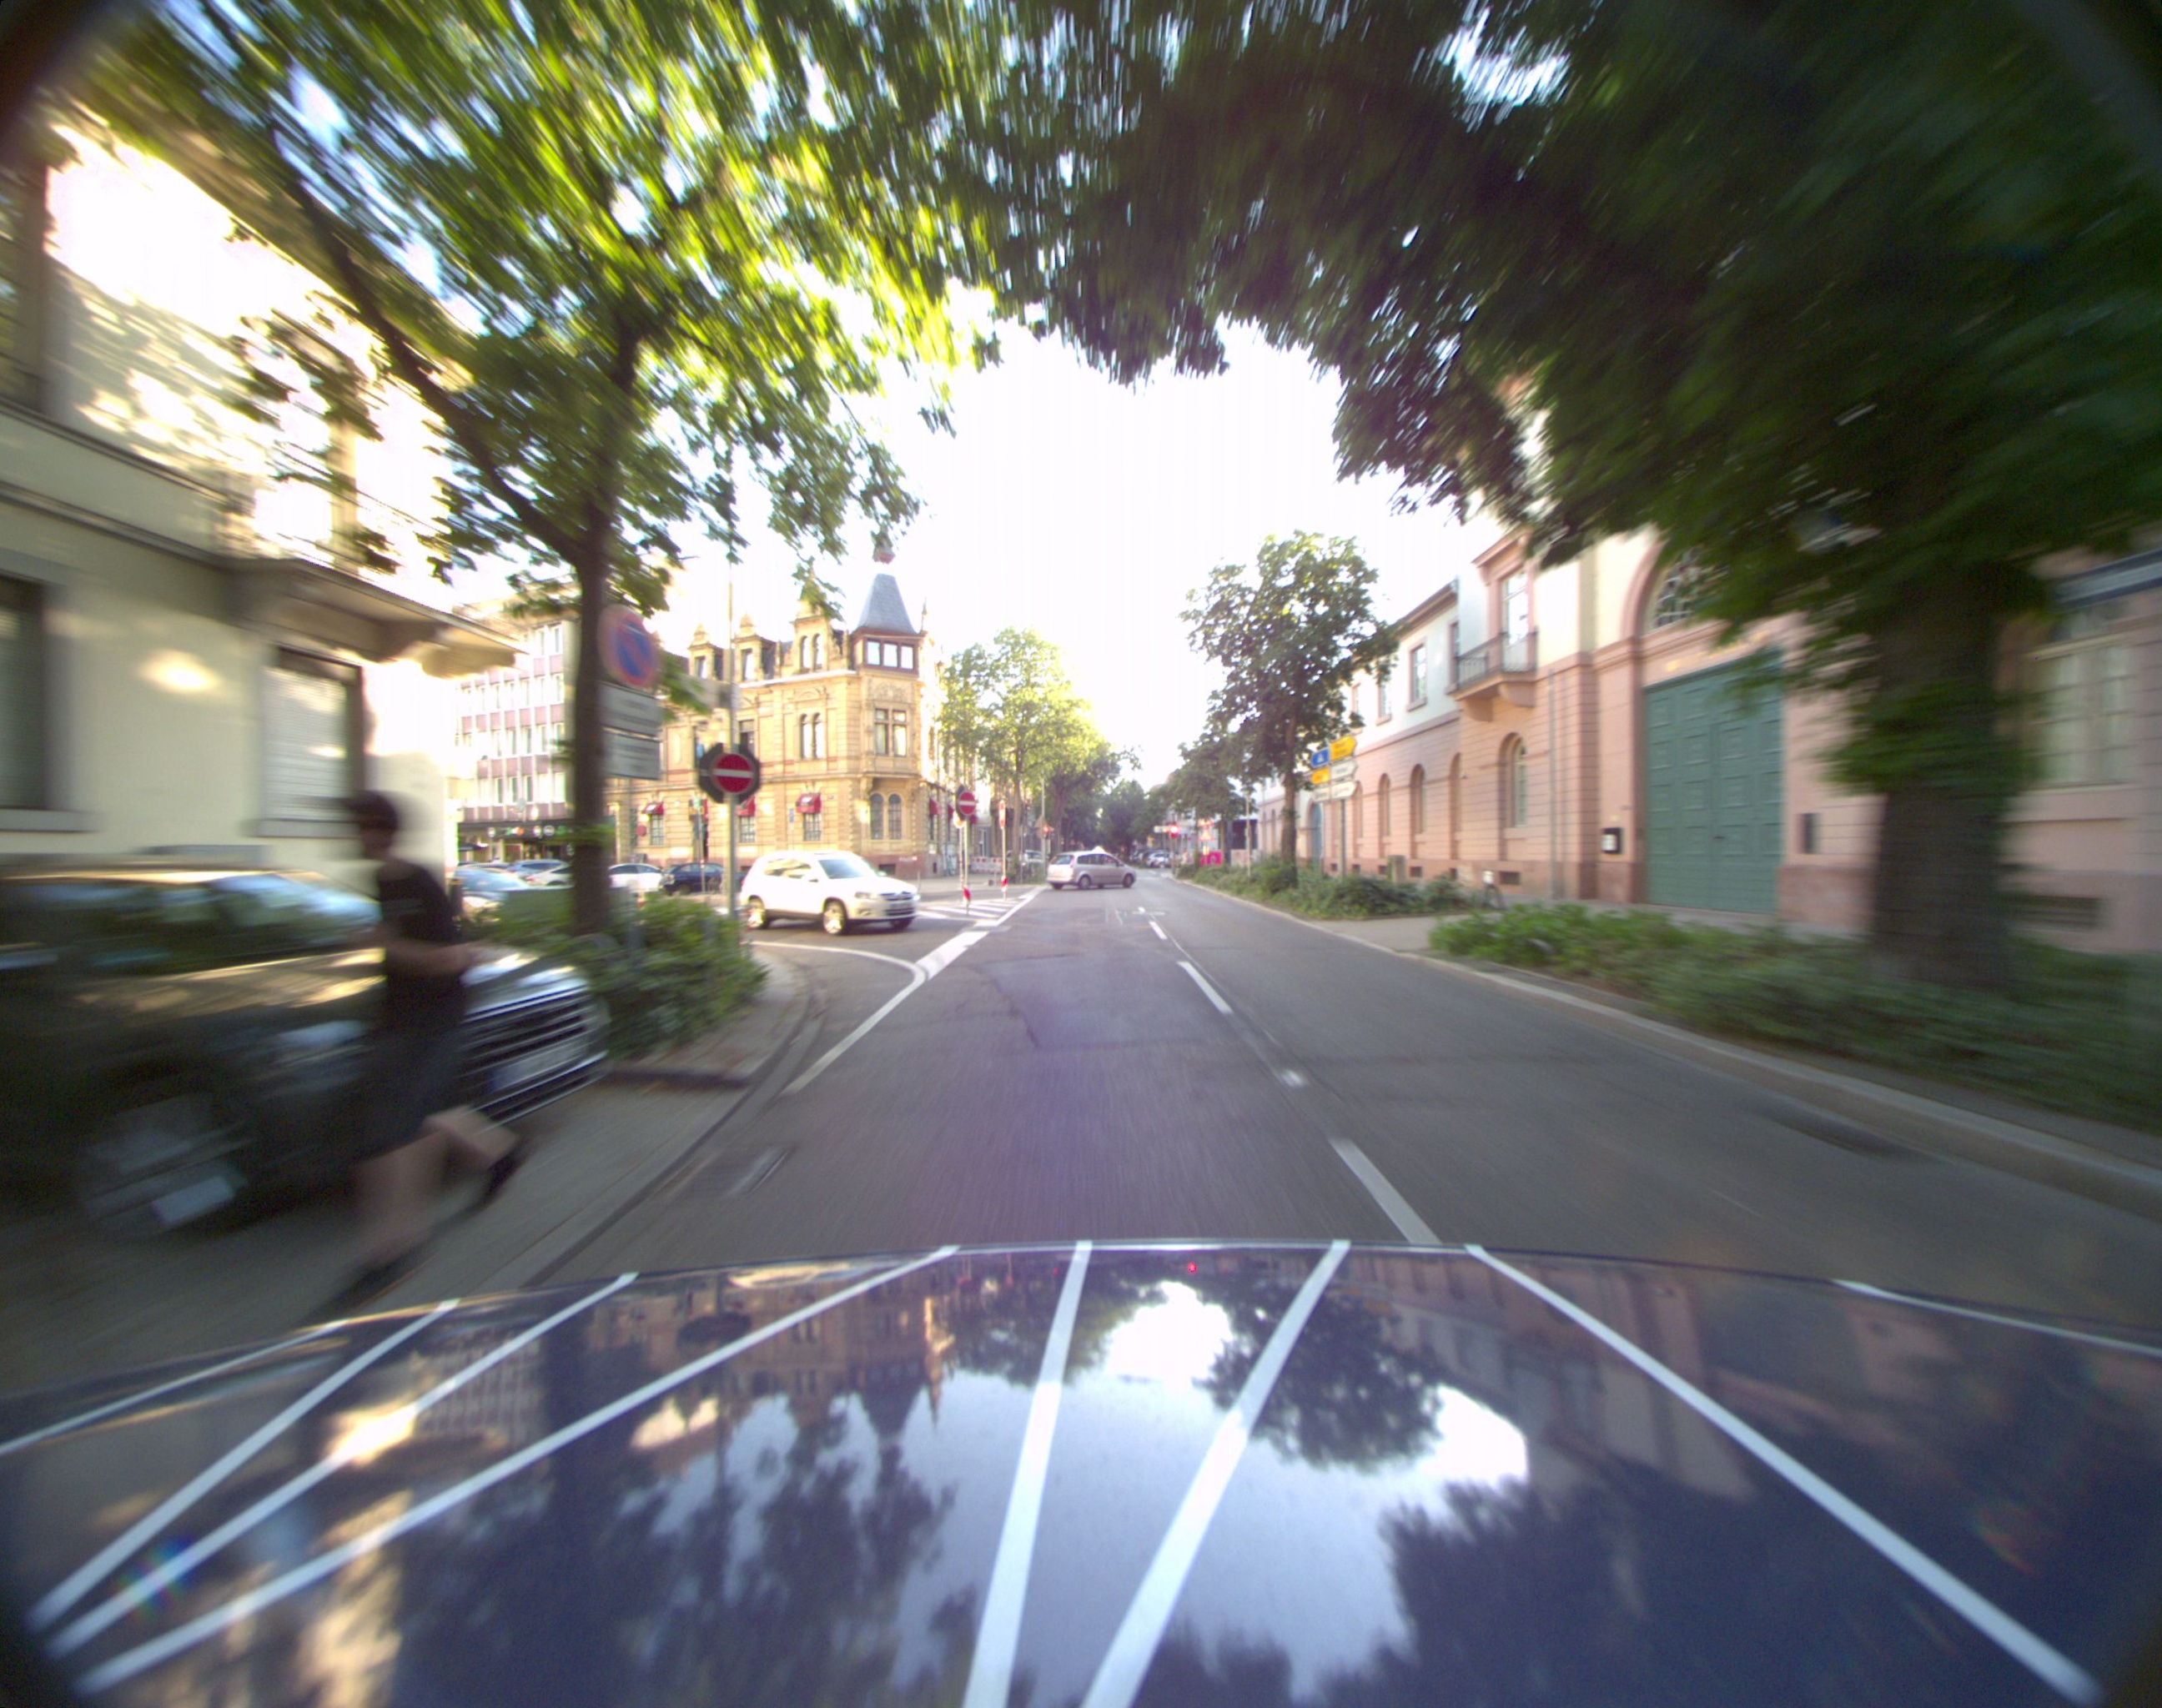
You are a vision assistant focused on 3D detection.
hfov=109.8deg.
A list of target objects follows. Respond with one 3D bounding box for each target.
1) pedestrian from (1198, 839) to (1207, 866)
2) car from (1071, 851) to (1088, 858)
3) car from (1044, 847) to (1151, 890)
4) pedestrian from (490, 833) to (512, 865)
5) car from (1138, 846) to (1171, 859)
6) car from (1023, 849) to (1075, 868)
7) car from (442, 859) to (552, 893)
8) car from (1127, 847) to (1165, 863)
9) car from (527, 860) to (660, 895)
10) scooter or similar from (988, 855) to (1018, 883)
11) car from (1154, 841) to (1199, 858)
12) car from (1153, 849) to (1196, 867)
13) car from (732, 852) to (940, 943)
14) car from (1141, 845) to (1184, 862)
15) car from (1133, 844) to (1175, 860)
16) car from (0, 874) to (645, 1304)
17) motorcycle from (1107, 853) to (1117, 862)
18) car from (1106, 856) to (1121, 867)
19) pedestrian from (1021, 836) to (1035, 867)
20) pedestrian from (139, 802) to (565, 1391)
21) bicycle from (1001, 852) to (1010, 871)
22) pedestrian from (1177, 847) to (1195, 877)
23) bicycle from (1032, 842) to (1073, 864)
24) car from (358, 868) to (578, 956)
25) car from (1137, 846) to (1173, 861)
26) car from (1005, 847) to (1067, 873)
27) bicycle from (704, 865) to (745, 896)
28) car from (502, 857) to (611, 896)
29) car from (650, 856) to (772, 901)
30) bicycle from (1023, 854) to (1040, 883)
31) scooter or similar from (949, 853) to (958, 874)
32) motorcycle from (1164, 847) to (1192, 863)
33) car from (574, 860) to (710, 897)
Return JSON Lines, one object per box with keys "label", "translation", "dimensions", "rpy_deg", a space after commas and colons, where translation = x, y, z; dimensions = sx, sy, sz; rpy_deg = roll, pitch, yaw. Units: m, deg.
{"label": "pedestrian", "translation": [8.660, -0.108, 54.022], "dimensions": [0.555, 1.840, 0.612], "rpy_deg": [-1, 1, 16]}
{"label": "car", "translation": [-0.377, 0.058, 162.002], "dimensions": [3.552, 1.411, 1.590], "rpy_deg": [-1, 1, -1]}
{"label": "car", "translation": [0.753, 0.583, 32.395], "dimensions": [4.361, 1.644, 1.880], "rpy_deg": [-2, 1, -41]}
{"label": "pedestrian", "translation": [-32.789, -0.275, 42.960], "dimensions": [0.734, 1.753, 0.635], "rpy_deg": [-1, 1, 23]}
{"label": "car", "translation": [8.960, -0.143, 93.174], "dimensions": [3.854, 1.442, 1.855], "rpy_deg": [-2, 0, 1]}
{"label": "car", "translation": [-2.696, 0.402, 65.060], "dimensions": [4.234, 1.551, 1.971], "rpy_deg": [0, 0, 4]}
{"label": "car", "translation": [-28.453, 1.041, 37.107], "dimensions": [4.147, 1.531, 1.775], "rpy_deg": [-1, 0, -39]}
{"label": "car", "translation": [8.835, 0.146, 103.715], "dimensions": [5.002, 1.979, 2.189], "rpy_deg": [-1, 0, 0]}
{"label": "car", "translation": [-22.285, 1.054, 34.852], "dimensions": [4.985, 1.449, 1.871], "rpy_deg": [-1, -1, -38]}
{"label": "scooter or similar", "translation": [-3.564, 0.679, 34.562], "dimensions": [1.277, 1.236, 0.505], "rpy_deg": [-2, 1, -42]}
{"label": "car", "translation": [8.467, -0.369, 67.785], "dimensions": [3.749, 1.303, 1.844], "rpy_deg": [-3, 1, 0]}
{"label": "car", "translation": [8.676, 0.386, 70.499], "dimensions": [3.751, 1.450, 1.735], "rpy_deg": [-3, 1, 0]}
{"label": "car", "translation": [-5.223, 0.832, 16.078], "dimensions": [4.192, 1.646, 1.899], "rpy_deg": [-1, 1, 33]}
{"label": "car", "translation": [8.210, -0.062, 76.972], "dimensions": [4.102, 1.622, 1.936], "rpy_deg": [-2, 1, 2]}
{"label": "car", "translation": [8.663, -0.255, 90.541], "dimensions": [4.677, 1.755, 2.156], "rpy_deg": [-2, 1, 1]}
{"label": "car", "translation": [-4.761, 0.899, 3.752], "dimensions": [4.118, 1.482, 1.850], "rpy_deg": [1, 0, 0]}
{"label": "motorcycle", "translation": [4.000, 0.485, 98.061], "dimensions": [1.315, 1.084, 2.396], "rpy_deg": [0, 0, 1]}
{"label": "car", "translation": [4.800, 1.156, 112.953], "dimensions": [1.882, 1.540, 4.273], "rpy_deg": [0, 0, -4]}
{"label": "pedestrian", "translation": [-3.318, -0.154, 47.782], "dimensions": [0.771, 1.877, 0.792], "rpy_deg": [-1, 1, -11]}
{"label": "pedestrian", "translation": [-2.542, 0.764, 2.766], "dimensions": [0.796, 1.858, 0.751], "rpy_deg": [1, 2, 1]}
{"label": "bicycle", "translation": [-5.240, 0.517, 52.923], "dimensions": [0.386, 1.228, 1.725], "rpy_deg": [-1, 1, 3]}
{"label": "pedestrian", "translation": [6.545, 0.496, 47.390], "dimensions": [0.791, 1.780, 0.772], "rpy_deg": [-4, 0, 28]}
{"label": "bicycle", "translation": [-2.258, -0.097, 60.193], "dimensions": [3.122, 1.653, 0.658], "rpy_deg": [-2, 1, -3]}
{"label": "car", "translation": [-12.698, 1.111, 15.702], "dimensions": [4.412, 1.534, 1.870], "rpy_deg": [-1, 1, 27]}
{"label": "car", "translation": [8.624, -0.052, 88.136], "dimensions": [4.037, 1.485, 1.781], "rpy_deg": [-3, 1, 5]}
{"label": "car", "translation": [-3.341, 0.461, 57.462], "dimensions": [4.552, 1.904, 1.950], "rpy_deg": [0, 1, -1]}
{"label": "bicycle", "translation": [-14.187, 1.024, 30.232], "dimensions": [1.828, 1.128, 0.829], "rpy_deg": [0, 3, 44]}
{"label": "car", "translation": [-25.027, 1.048, 36.326], "dimensions": [4.147, 1.716, 1.775], "rpy_deg": [-1, 0, -39]}
{"label": "car", "translation": [-15.785, 1.000, 32.514], "dimensions": [4.285, 1.405, 1.708], "rpy_deg": [-7, 4, -41]}
{"label": "bicycle", "translation": [-2.353, 0.680, 36.265], "dimensions": [0.417, 1.364, 1.289], "rpy_deg": [0, 1, 12]}
{"label": "scooter or similar", "translation": [-7.386, 0.551, 44.059], "dimensions": [0.251, 1.187, 1.092], "rpy_deg": [-1, 0, 2]}
{"label": "motorcycle", "translation": [8.308, 0.088, 64.942], "dimensions": [2.150, 1.411, 0.969], "rpy_deg": [0, 1, 22]}
{"label": "car", "translation": [-19.263, 1.020, 33.433], "dimensions": [5.000, 1.449, 1.982], "rpy_deg": [-1, 0, -36]}
